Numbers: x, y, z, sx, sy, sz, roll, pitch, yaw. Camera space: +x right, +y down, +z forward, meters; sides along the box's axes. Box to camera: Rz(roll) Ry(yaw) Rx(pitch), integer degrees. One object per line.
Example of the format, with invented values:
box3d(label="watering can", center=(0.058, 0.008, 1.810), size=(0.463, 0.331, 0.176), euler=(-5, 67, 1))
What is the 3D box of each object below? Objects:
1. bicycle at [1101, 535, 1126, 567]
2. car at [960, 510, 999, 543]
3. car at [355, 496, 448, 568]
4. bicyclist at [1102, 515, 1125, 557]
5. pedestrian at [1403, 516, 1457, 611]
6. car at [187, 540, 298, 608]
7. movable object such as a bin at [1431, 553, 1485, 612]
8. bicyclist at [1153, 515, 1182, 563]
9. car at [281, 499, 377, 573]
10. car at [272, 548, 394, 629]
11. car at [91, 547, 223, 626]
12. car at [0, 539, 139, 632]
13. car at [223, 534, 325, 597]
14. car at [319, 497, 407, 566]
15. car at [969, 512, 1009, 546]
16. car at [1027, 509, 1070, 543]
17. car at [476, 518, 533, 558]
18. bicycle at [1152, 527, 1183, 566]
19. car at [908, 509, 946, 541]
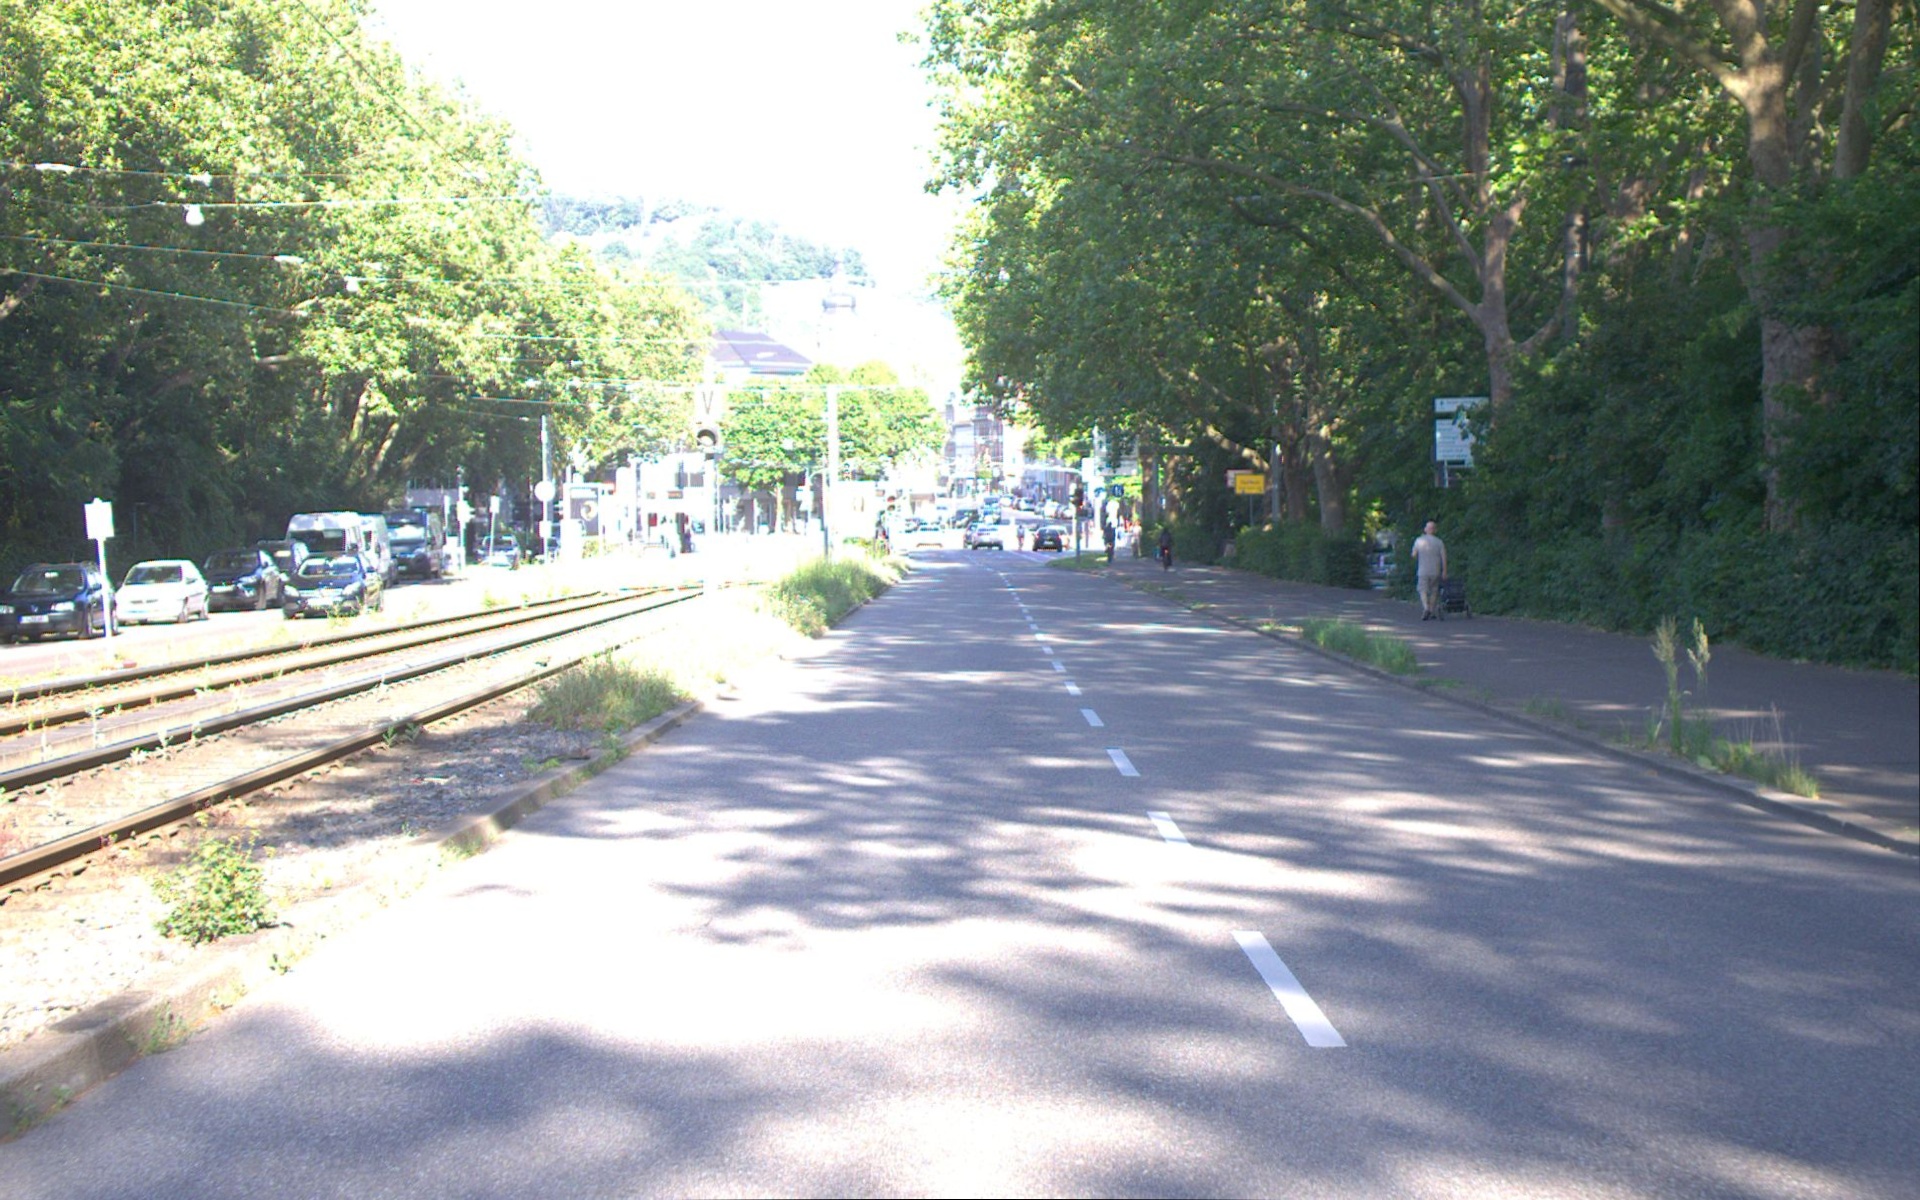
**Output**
box3d(label="bicycle", center=(6.473, -2.057, 145.283), size=(0.887, 1.316, 2.640), euler=(-1, 1, 0))
box3d(label="car", center=(1.254, -4.705, 220.350), size=(2.394, 1.993, 5.306), euler=(-1, 1, 0))
box3d(label="car", center=(-20.373, -2.477, 125.676), size=(2.394, 2.515, 5.900), euler=(-1, 1, 0))
box3d(label="bicyclist", center=(6.471, -2.715, 145.185), size=(0.887, 1.768, 1.222), euler=(-1, 1, 0))
box3d(label="pedestrian", center=(7.761, -0.607, 56.783), size=(0.804, 1.540, 0.814), euler=(-1, 1, 3))
box3d(label="car", center=(-18.546, -0.698, 89.006), size=(1.993, 1.691, 4.745), euler=(-1, 1, -2))
box3d(label="movable object such as a bin", center=(8.107, -0.291, 55.986), size=(0.804, 0.944, 0.656), euler=(-1, 1, 3))
box3d(label="bicyclist", center=(7.200, -2.106, 119.242), size=(0.887, 1.633, 1.164), euler=(-1, 1, 0))
box3d(label="car", center=(-19.163, -1.940, 104.634), size=(1.993, 2.156, 5.815), euler=(-1, 1, -2))
box3d(label="car", center=(-13.976, -0.289, 76.881), size=(1.993, 1.691, 4.745), euler=(-1, 1, -2))
box3d(label="car", center=(-18.097, -0.337, 77.664), size=(1.993, 1.691, 4.745), euler=(-1, 1, -2))
box3d(label="car", center=(-17.325, -0.307, 66.210), size=(1.993, 1.691, 4.745), euler=(-1, 1, -2))
box3d(label="car", center=(-19.076, -0.978, 95.780), size=(1.993, 1.691, 4.745), euler=(-1, 1, -2))
box3d(label="car", center=(-19.310, -2.212, 111.354), size=(1.993, 2.156, 5.815), euler=(-1, 1, -2))
box3d(label="car", center=(1.787, -4.390, 212.695), size=(2.394, 1.993, 5.306), euler=(-1, 1, 0))
box3d(label="car", center=(5.343, -4.463, 208.268), size=(2.394, 1.993, 5.306), euler=(-1, 1, 0))
box3d(label="car", center=(-19.921, -2.706, 150.481), size=(1.993, 1.691, 4.745), euler=(-1, 1, -2))
box3d(label="bicycle", center=(7.199, -1.859, 119.148), size=(0.887, 1.316, 2.640), euler=(-1, 1, 0))
box3d(label="car", center=(-2.131, -4.837, 222.331), size=(2.394, 1.993, 5.306), euler=(-1, 1, 0))
